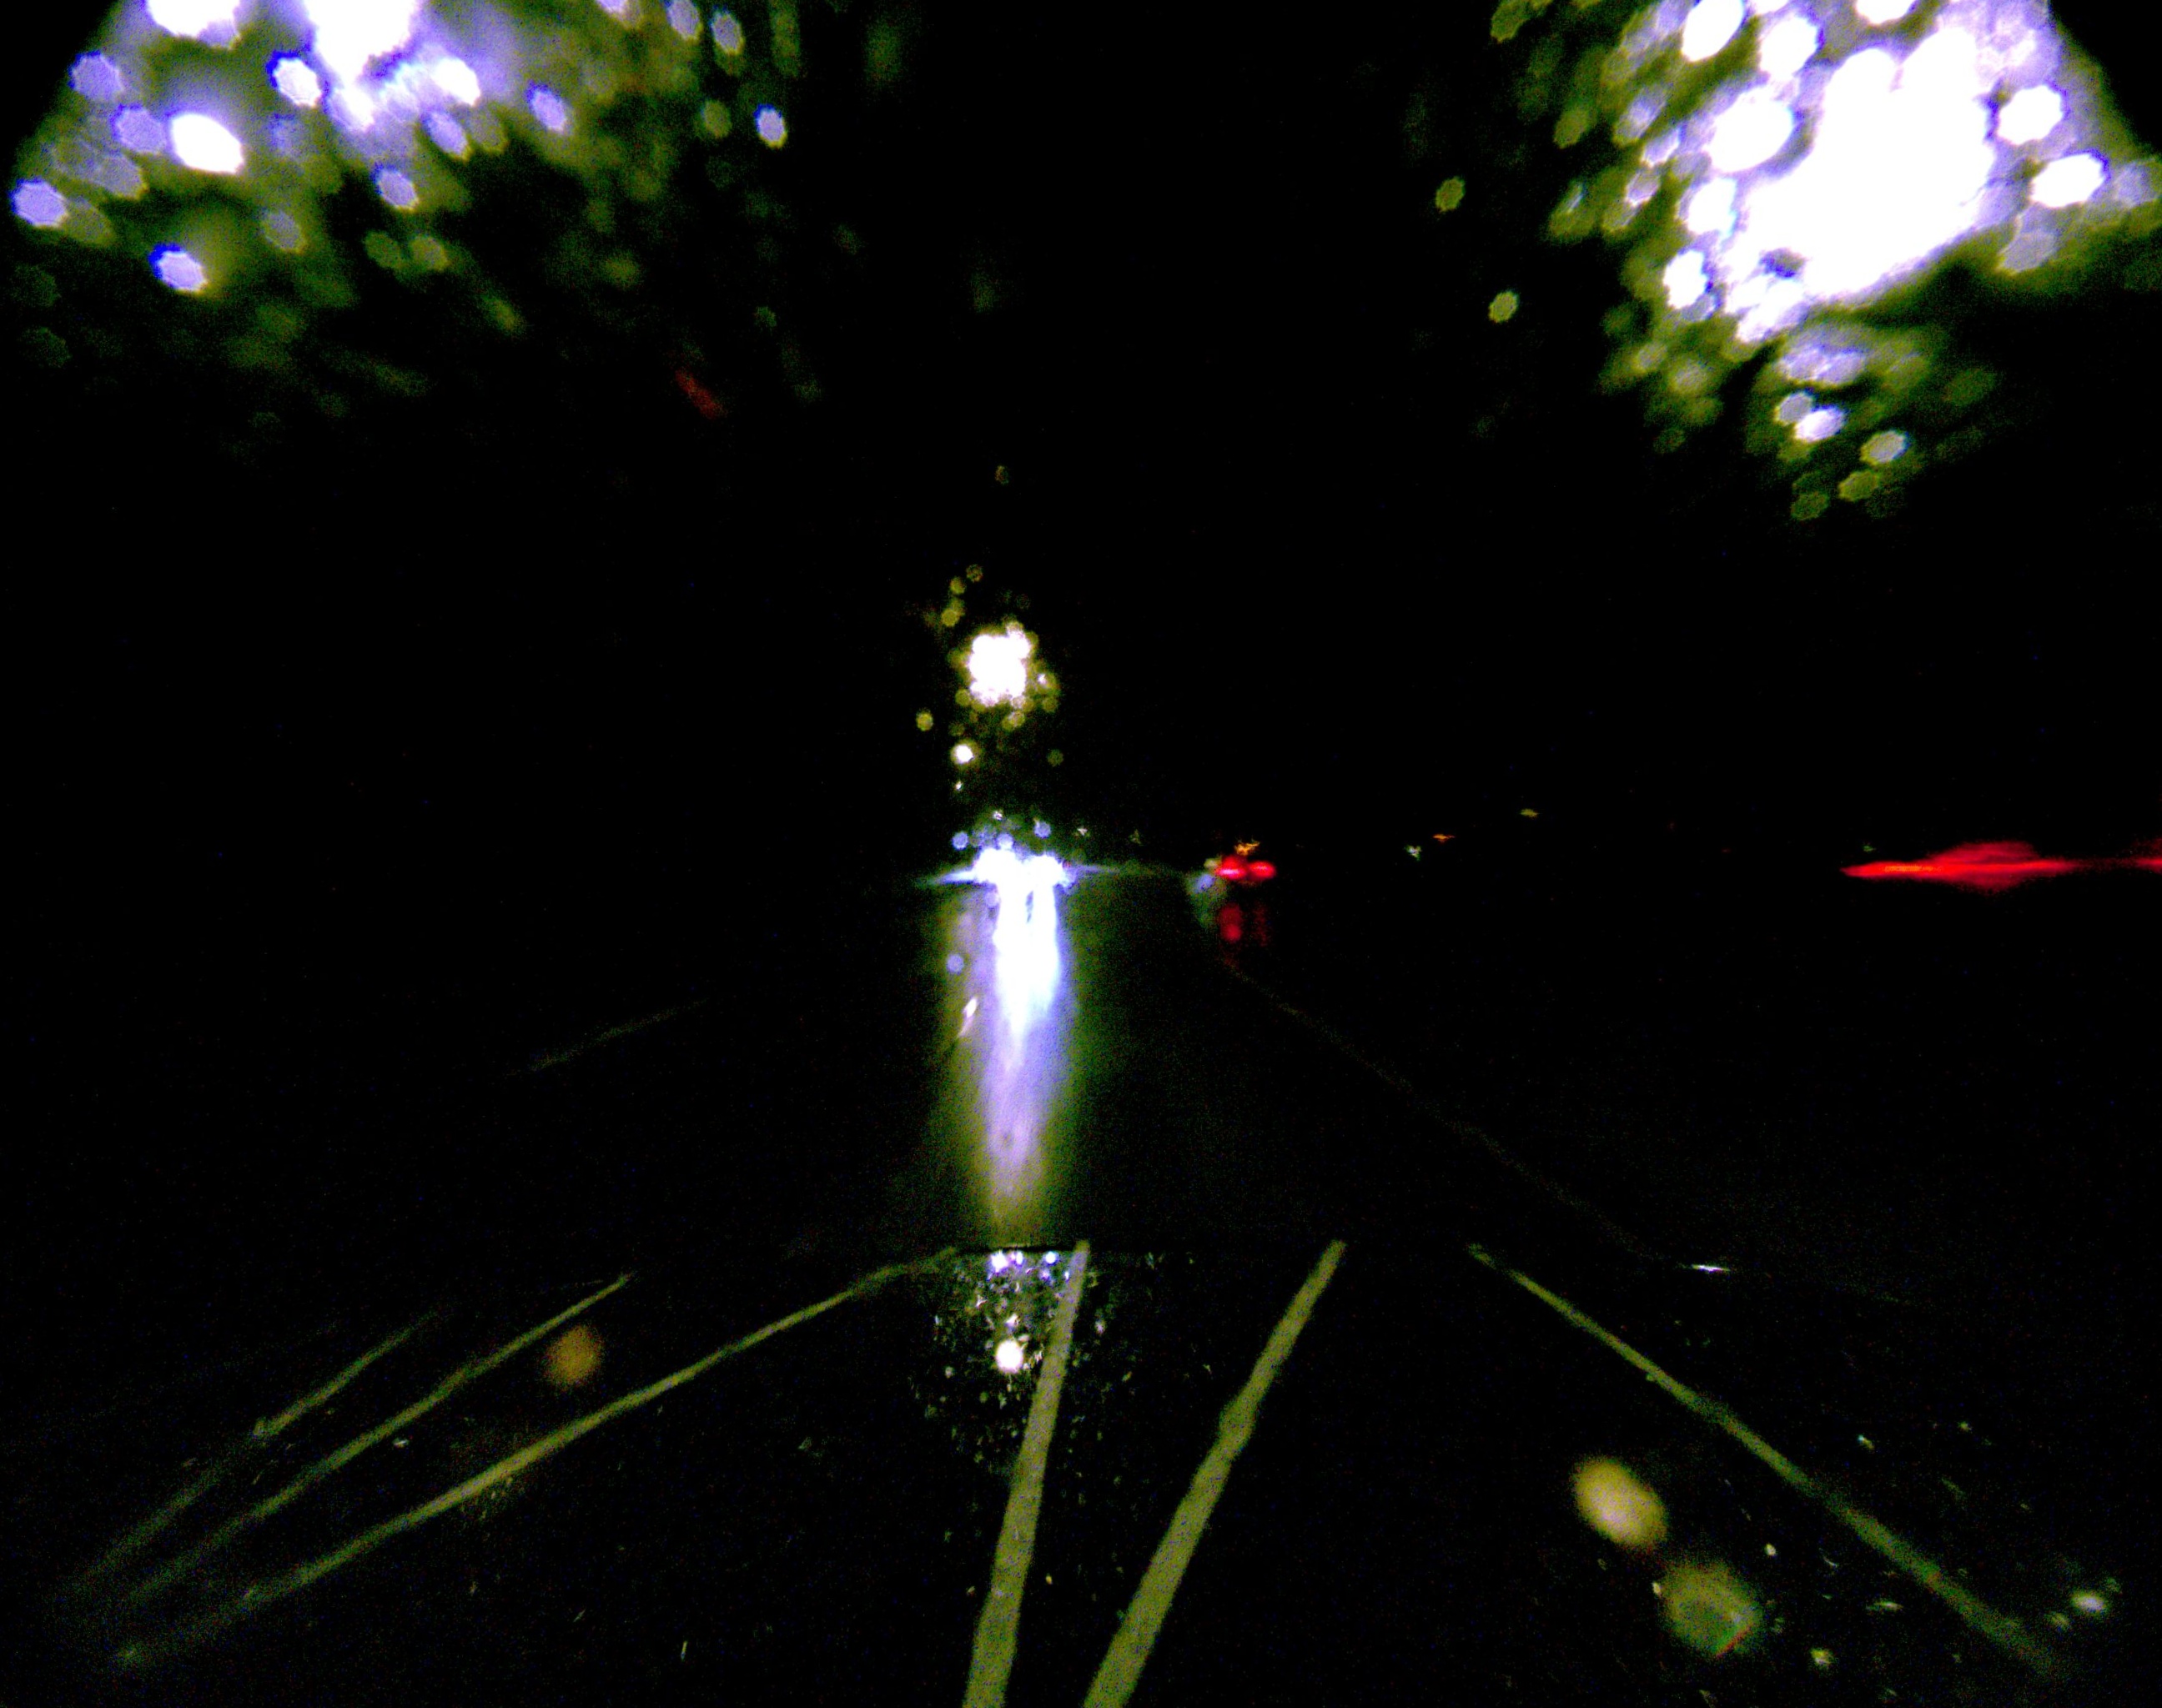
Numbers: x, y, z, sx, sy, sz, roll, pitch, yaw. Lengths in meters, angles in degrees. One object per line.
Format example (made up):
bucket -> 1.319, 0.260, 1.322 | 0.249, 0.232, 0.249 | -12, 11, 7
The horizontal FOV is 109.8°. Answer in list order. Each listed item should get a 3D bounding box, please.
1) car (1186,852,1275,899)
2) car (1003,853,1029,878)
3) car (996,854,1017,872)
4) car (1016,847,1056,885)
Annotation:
car -> 5.157, 0.698, 26.768 | 1.832, 1.495, 4.185 | 0, 0, -8
car -> -5.336, 0.982, 62.422 | 2.000, 1.922, 3.998 | 2, -1, -6
car -> -8.306, 1.027, 84.949 | 2.000, 1.922, 3.997 | 2, -1, -9
car -> -2.354, 0.599, 39.521 | 1.937, 1.861, 3.999 | -1, 0, -4
